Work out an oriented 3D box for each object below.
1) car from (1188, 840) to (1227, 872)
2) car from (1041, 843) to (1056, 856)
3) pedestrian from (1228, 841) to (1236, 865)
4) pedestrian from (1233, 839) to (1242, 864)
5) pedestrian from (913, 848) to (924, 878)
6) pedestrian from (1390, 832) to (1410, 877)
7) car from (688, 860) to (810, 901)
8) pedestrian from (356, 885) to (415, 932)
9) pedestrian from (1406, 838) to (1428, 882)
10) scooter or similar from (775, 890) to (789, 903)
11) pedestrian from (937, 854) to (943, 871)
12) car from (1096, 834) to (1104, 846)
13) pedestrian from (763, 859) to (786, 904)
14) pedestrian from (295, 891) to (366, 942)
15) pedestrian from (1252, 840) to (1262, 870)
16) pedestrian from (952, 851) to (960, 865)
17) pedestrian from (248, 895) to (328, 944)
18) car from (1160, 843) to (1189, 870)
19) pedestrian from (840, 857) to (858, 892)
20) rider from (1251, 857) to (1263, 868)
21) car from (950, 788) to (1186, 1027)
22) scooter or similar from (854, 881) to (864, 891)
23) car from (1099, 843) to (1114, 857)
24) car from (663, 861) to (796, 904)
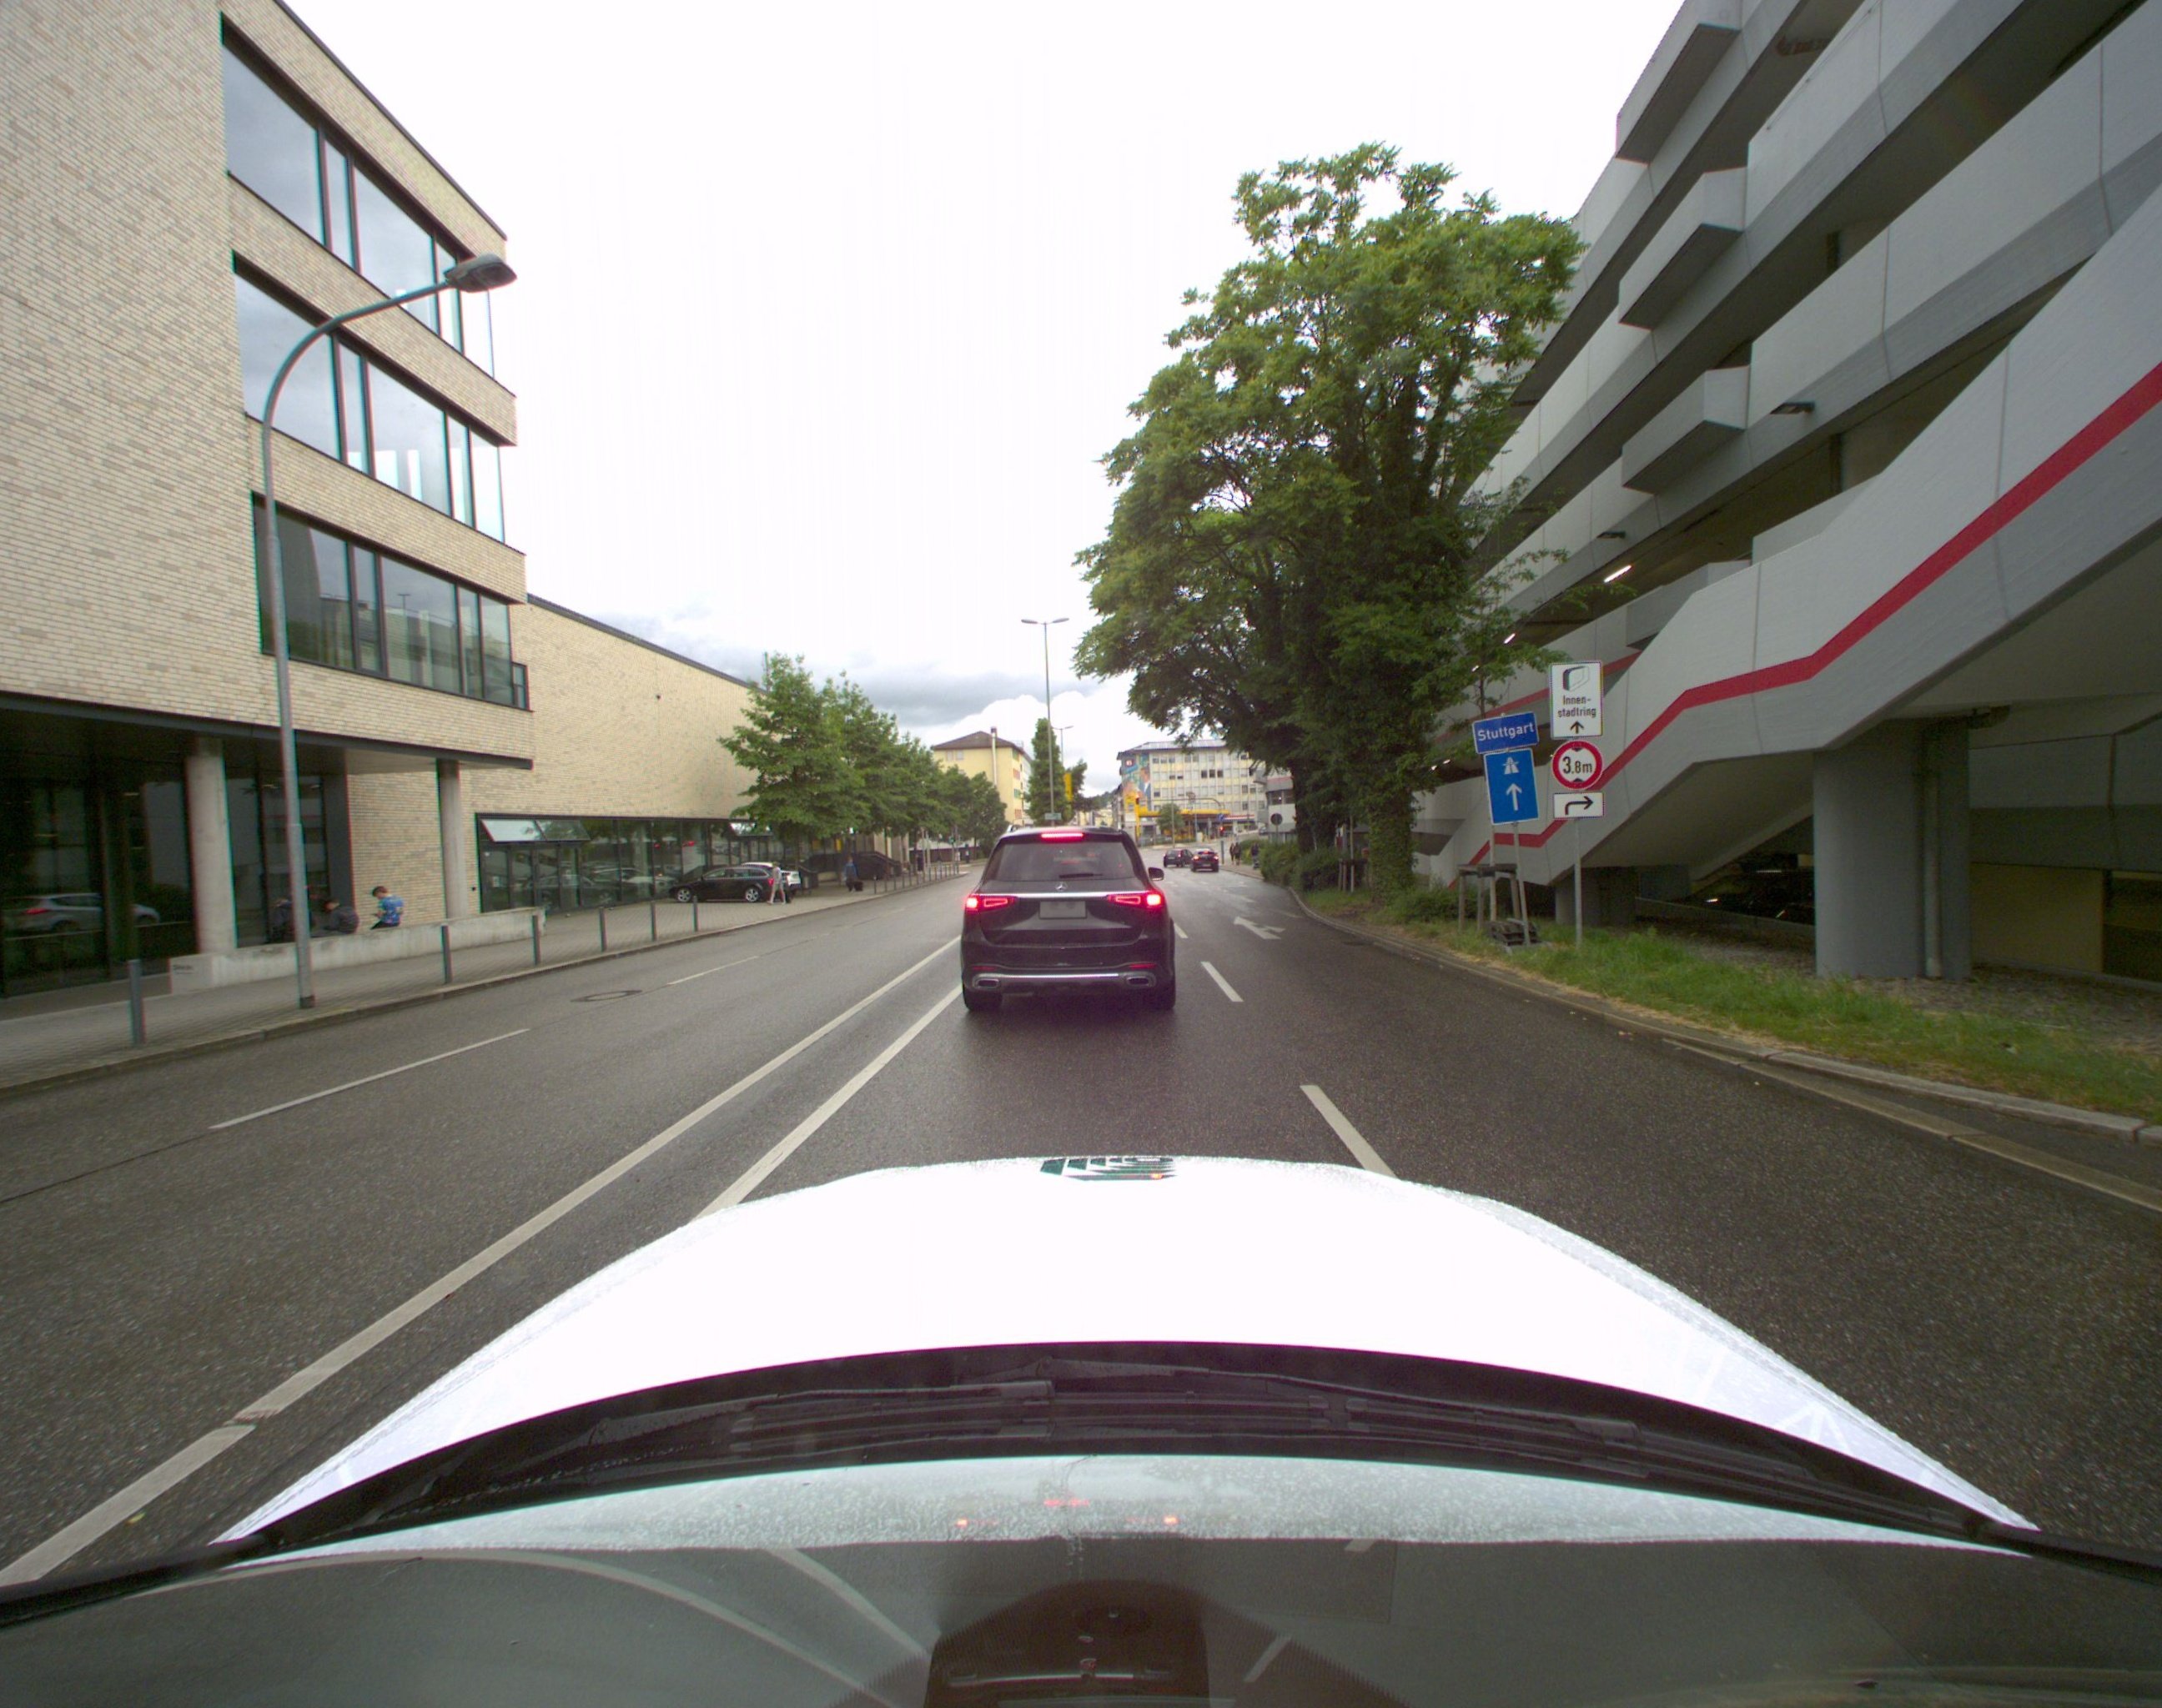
[{"bbox_3d":[8.477,0.105,54.835,1.987,2.013,3.999,-1,0,0],"label":"car"},{"bbox_3d":[-4.883,-0.694,122.429,1.987,1.875,5.141,0,-1,0],"label":"car"},{"bbox_3d":[12.233,-0.071,66.035,0.518,1.911,0.556,0,-1,1],"label":"pedestrian"},{"bbox_3d":[12.032,-0.210,62.697,0.617,1.935,0.611,0,-1,2],"label":"pedestrian"},{"bbox_3d":[-11.060,0.606,55.406,0.586,2.014,0.749,0,-1,0],"label":"pedestrian"},{"bbox_3d":[10.995,0.024,28.080,0.548,1.532,0.489,0,-1,8],"label":"pedestrian"},{"bbox_3d":[-14.257,1.127,35.145,4.407,1.573,1.998,-1,1,-4],"label":"car"},{"bbox_3d":[-13.606,1.051,15.941,0.679,0.886,0.524,0,-1,-2],"label":"pedestrian"},{"bbox_3d":[11.576,0.206,28.056,0.579,1.501,0.505,0,-1,6],"label":"pedestrian"},{"bbox_3d":[-11.556,1.646,31.465,0.279,0.501,0.616,0,-1,3],"label":"scooter or similar"},{"bbox_3d":[-13.412,0.826,77.435,0.398,1.644,0.567,0,-1,2],"label":"pedestrian"},{"bbox_3d":[5.402,-3.906,232.810,1.987,2.007,4.013,0,23,0],"label":"car"},{"bbox_3d":[-11.684,1.035,31.069,0.673,1.697,0.479,0,-1,1],"label":"pedestrian"},{"bbox_3d":[-13.508,1.114,14.682,0.584,0.845,0.727,-1,-1,1],"label":"pedestrian"},{"bbox_3d":[11.514,0.069,53.335,0.658,1.917,0.731,0,-1,12],"label":"pedestrian"},{"bbox_3d":[-13.122,0.441,85.525,0.709,1.462,0.598,0,-1,0],"label":"pedestrian"},{"bbox_3d":[-13.518,1.110,13.899,0.595,0.786,0.760,0,-1,1],"label":"pedestrian"},{"bbox_3d":[7.384,0.211,64.749,1.986,2.014,4.002,0,-1,2],"label":"car"},{"bbox_3d":[-11.661,1.050,40.967,0.686,1.726,0.754,0,-3,0],"label":"pedestrian"},{"bbox_3d":[11.363,0.547,52.629,0.689,0.740,0.634,0,-1,9],"label":"rider"},{"bbox_3d":[-0.089,0.467,8.891,1.987,2.014,4.000,0,-1,0],"label":"car"},{"bbox_3d":[-11.300,1.627,41.420,0.358,0.536,0.499,0,-2,1],"label":"scooter or similar"},{"bbox_3d":[3.713,-0.579,117.401,1.988,2.014,3.998,0,-1,-1],"label":"car"},{"bbox_3d":[-14.139,1.125,32.990,4.461,1.587,1.997,-1,0,-5],"label":"car"}]
